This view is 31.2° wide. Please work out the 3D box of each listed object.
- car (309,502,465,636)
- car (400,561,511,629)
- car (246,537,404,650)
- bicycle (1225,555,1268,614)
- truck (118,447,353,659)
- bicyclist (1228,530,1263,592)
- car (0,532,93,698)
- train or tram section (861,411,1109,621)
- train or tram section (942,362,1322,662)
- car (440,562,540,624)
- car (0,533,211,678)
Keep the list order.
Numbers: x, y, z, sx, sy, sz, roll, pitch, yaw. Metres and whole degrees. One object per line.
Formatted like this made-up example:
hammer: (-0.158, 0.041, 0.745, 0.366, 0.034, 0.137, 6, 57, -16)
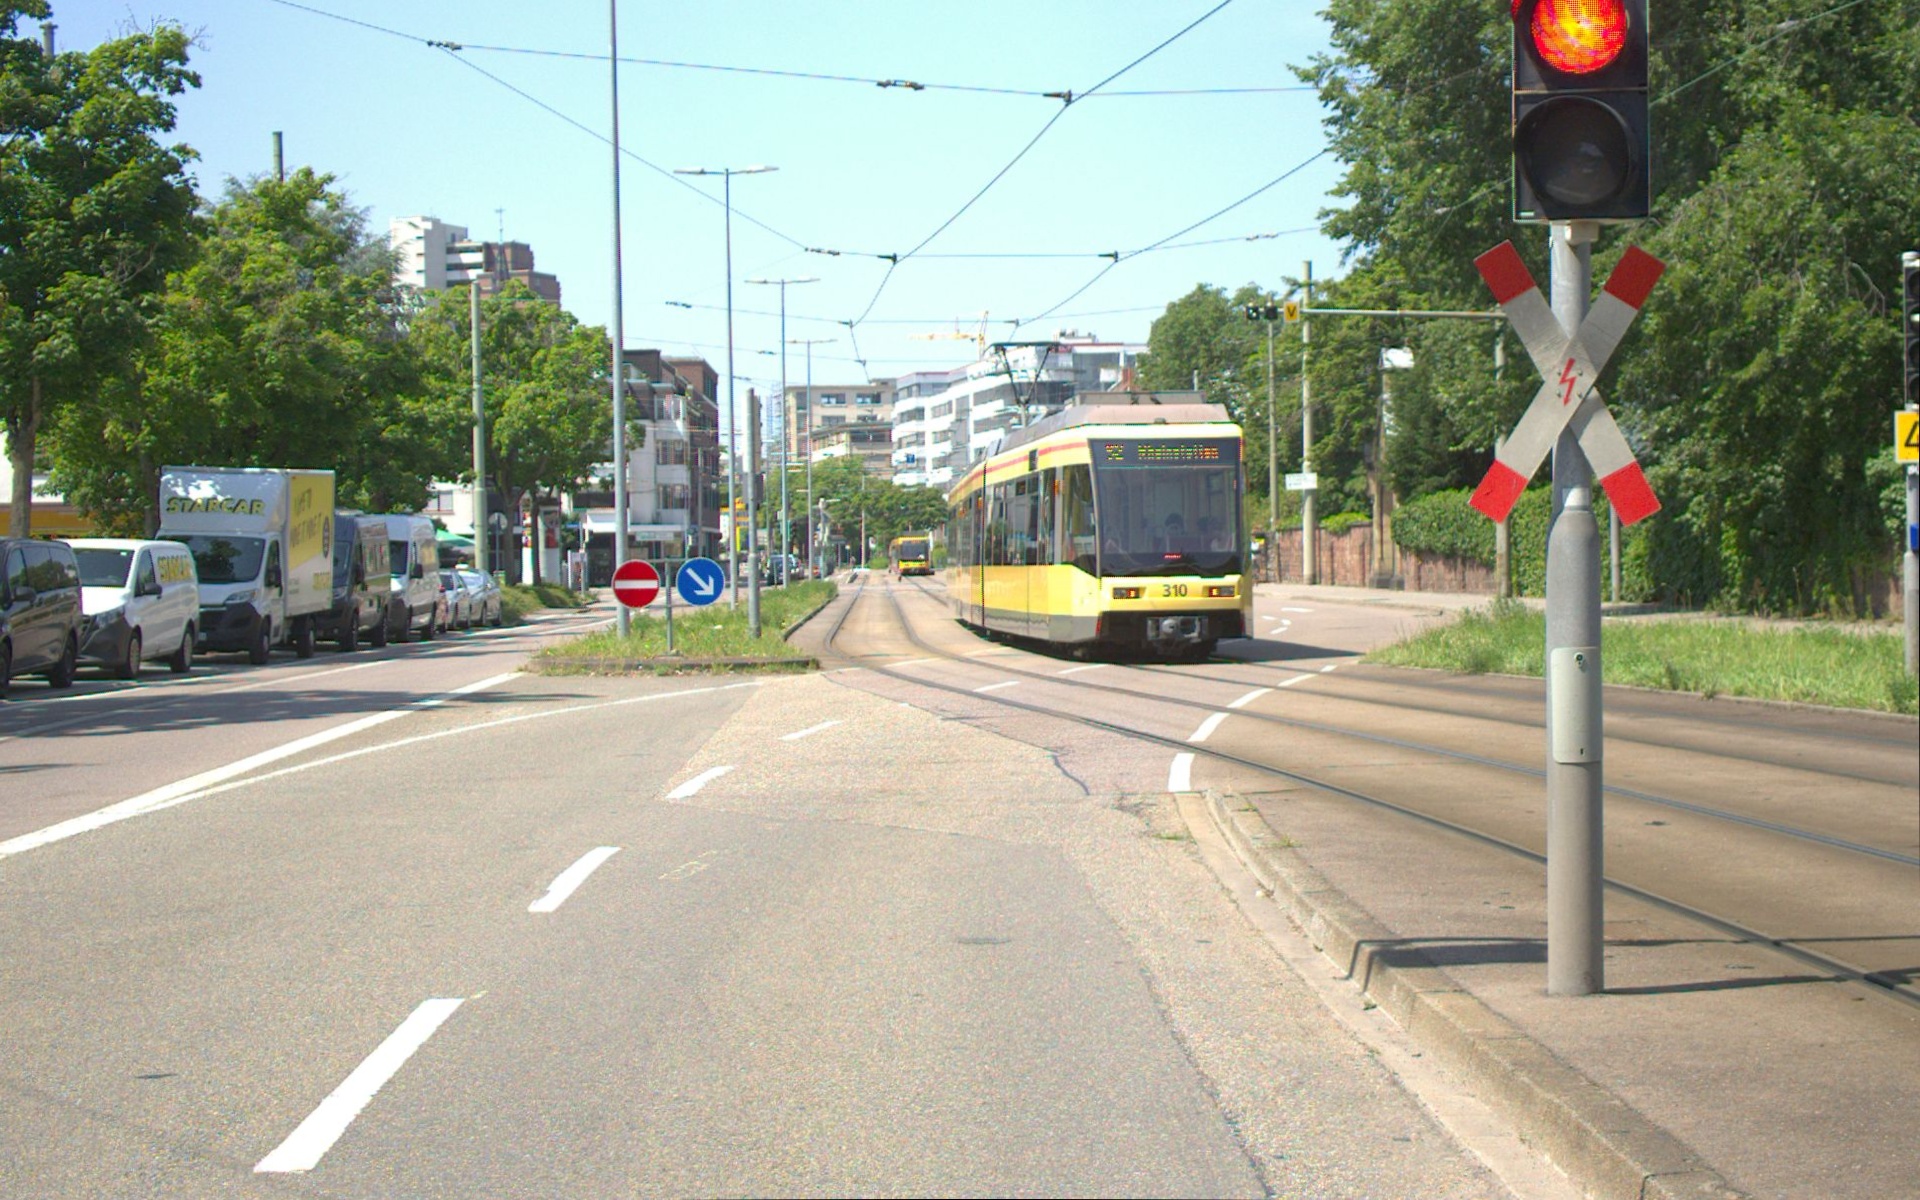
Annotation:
car: (-11.984, -0.673, 72.236, 2.157, 2.630, 5.611, 2, 1, 1)
car: (-12.588, -0.155, 86.054, 2.061, 1.576, 4.871, -1, 1, -1)
car: (-11.786, -0.159, 64.138, 2.061, 1.970, 4.871, -1, 1, -1)
bicycle: (9.663, -0.534, 116.060, 1.092, 1.901, 3.682, -1, 1, 0)
truck: (-11.835, -0.798, 56.703, 2.157, 3.199, 7.082, 2, 1, 1)
bicyclist: (9.627, -1.312, 115.955, 1.096, 2.101, 1.031, 0, 0, -1)
car: (-11.889, 0.158, 41.296, 1.868, 1.888, 4.271, -1, 1, -1)
train or tram section: (0.153, -1.683, 70.618, 2.943, 3.679, 20.288, 0, 1, -6)
train or tram section: (2.069, -1.258, 51.435, 2.943, 3.679, 18.393, 0, 1, -6)
car: (-12.674, -0.216, 92.971, 2.061, 1.576, 4.871, -1, 1, -1)
car: (-12.044, 0.041, 48.145, 2.061, 1.891, 4.871, -1, 1, -1)
